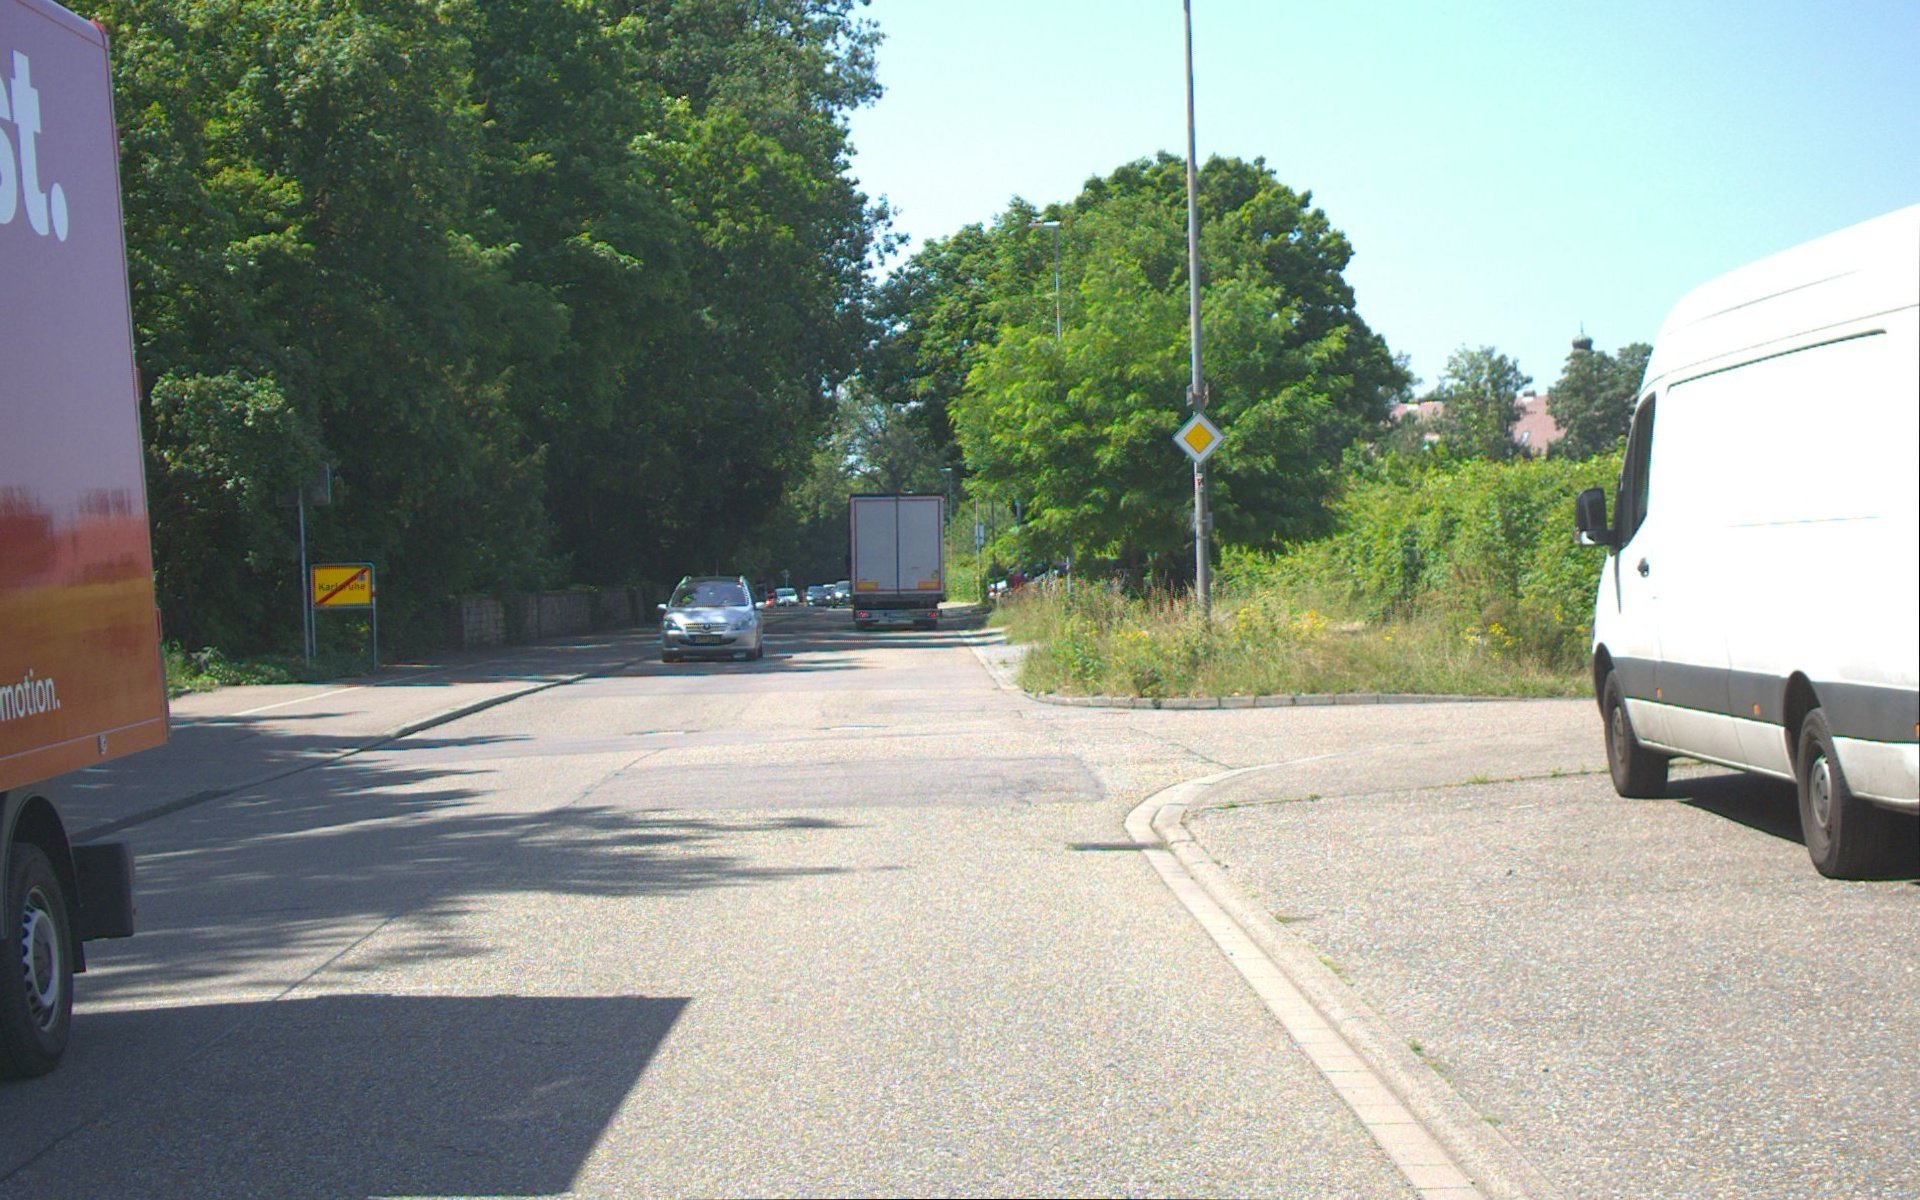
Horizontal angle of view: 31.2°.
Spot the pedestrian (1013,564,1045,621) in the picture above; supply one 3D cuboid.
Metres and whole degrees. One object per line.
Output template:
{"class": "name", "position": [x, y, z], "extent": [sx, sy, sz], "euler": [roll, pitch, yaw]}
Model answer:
{"class": "pedestrian", "position": [2.049, -0.228, 102.149], "extent": [0.863, 1.671, 0.886], "euler": [-2, 0, -2]}

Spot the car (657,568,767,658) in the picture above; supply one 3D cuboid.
{"class": "car", "position": [-4.554, 0.219, 63.669], "extent": [1.791, 1.567, 4.272], "euler": [-1, 1, -1]}

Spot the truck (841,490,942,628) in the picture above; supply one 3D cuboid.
{"class": "truck", "position": [-1.892, -1.148, 99.778], "extent": [2.733, 3.733, 13.246], "euler": [0, 0, 0]}

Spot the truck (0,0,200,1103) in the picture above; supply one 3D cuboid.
{"class": "truck", "position": [-3.944, -0.221, 8.448], "extent": [2.322, 3.428, 7.161], "euler": [-4, 1, 0]}

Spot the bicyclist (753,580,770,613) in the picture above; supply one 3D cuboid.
{"class": "bicyclist", "position": [-10.556, -0.204, 182.614], "extent": [0.832, 1.710, 0.957], "euler": [-2, 0, 0]}

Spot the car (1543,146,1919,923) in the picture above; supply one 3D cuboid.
{"class": "car", "position": [4.299, -0.319, 15.518], "extent": [1.954, 2.724, 7.167], "euler": [-3, 1, 0]}

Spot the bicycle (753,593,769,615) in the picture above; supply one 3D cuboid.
{"class": "bicycle", "position": [-10.555, 0.214, 182.541], "extent": [0.718, 1.155, 2.230], "euler": [-2, 0, 0]}

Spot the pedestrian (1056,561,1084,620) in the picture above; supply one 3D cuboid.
{"class": "pedestrian", "position": [3.306, -0.279, 103.154], "extent": [0.739, 1.732, 0.886], "euler": [-2, 0, -2]}
